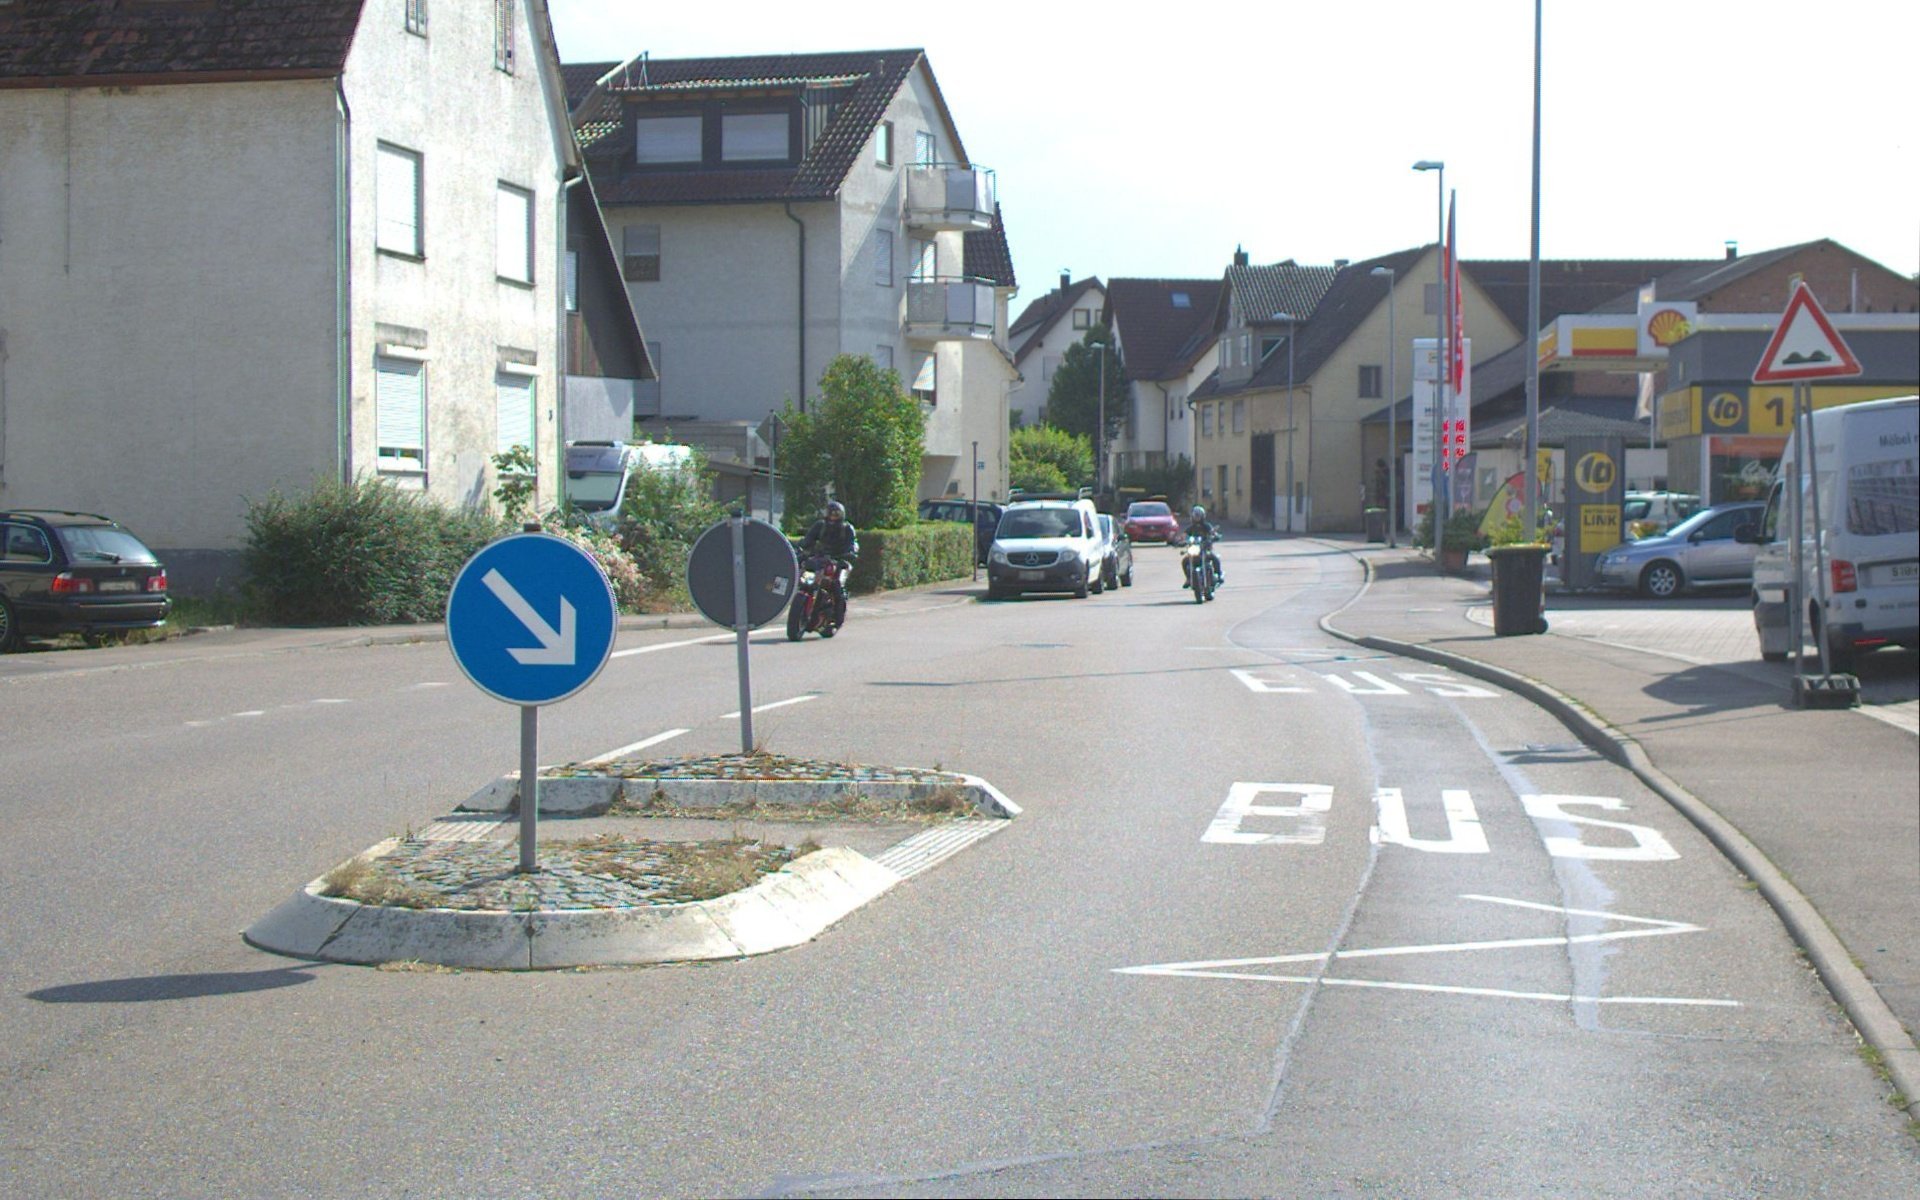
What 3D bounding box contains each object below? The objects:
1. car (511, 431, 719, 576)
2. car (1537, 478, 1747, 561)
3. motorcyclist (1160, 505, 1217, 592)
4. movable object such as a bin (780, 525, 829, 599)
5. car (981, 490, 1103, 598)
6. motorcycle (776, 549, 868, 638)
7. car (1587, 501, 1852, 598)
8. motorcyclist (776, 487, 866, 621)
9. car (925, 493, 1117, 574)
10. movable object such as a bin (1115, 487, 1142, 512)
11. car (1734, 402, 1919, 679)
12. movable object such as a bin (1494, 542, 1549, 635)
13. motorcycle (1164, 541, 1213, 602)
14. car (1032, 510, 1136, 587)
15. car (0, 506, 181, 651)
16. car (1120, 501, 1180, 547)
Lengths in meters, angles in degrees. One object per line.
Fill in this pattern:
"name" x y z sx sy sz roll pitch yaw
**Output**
"car" -6.462 -1.845 65.209 2.159 2.587 6.091 1 2 12
"car" 13.680 -1.623 69.124 3.988 1.602 2.000 1 2 7
"motorcyclist" 3.858 -0.874 57.949 0.803 1.431 1.036 2 2 11
"movable object such as a bin" -2.349 -0.578 51.976 0.611 1.097 0.575 2 1 8
"car" 1.523 -1.041 62.426 1.717 1.866 4.191 -1 2 8
"motorcycle" -1.629 -0.091 40.837 0.538 1.009 2.026 3 1 13
"car" 12.178 -0.821 55.265 3.987 1.526 1.527 0 2 5
"motorcyclist" -1.635 -0.542 40.680 0.736 1.521 1.016 3 1 13
"car" 1.415 -1.550 79.503 3.991 1.533 1.761 5 3 18
"movable object such as a bin" 7.911 -4.743 161.516 1.160 1.164 0.655 0 2 -5
"car" 8.603 -0.592 32.119 1.836 2.366 5.178 -1 1 4
"movable object such as a bin" 6.598 -0.144 40.418 0.567 1.071 0.573 -1 2 3
"motorcycle" 3.865 -0.489 58.048 0.525 1.009 2.027 2 1 11
"car" 2.486 -1.038 68.146 1.673 1.446 3.833 0 2 8
"car" -10.477 -0.284 37.363 3.995 1.428 1.650 3 3 35
"car" 6.195 -2.498 112.360 1.708 1.430 3.780 -1 1 0
